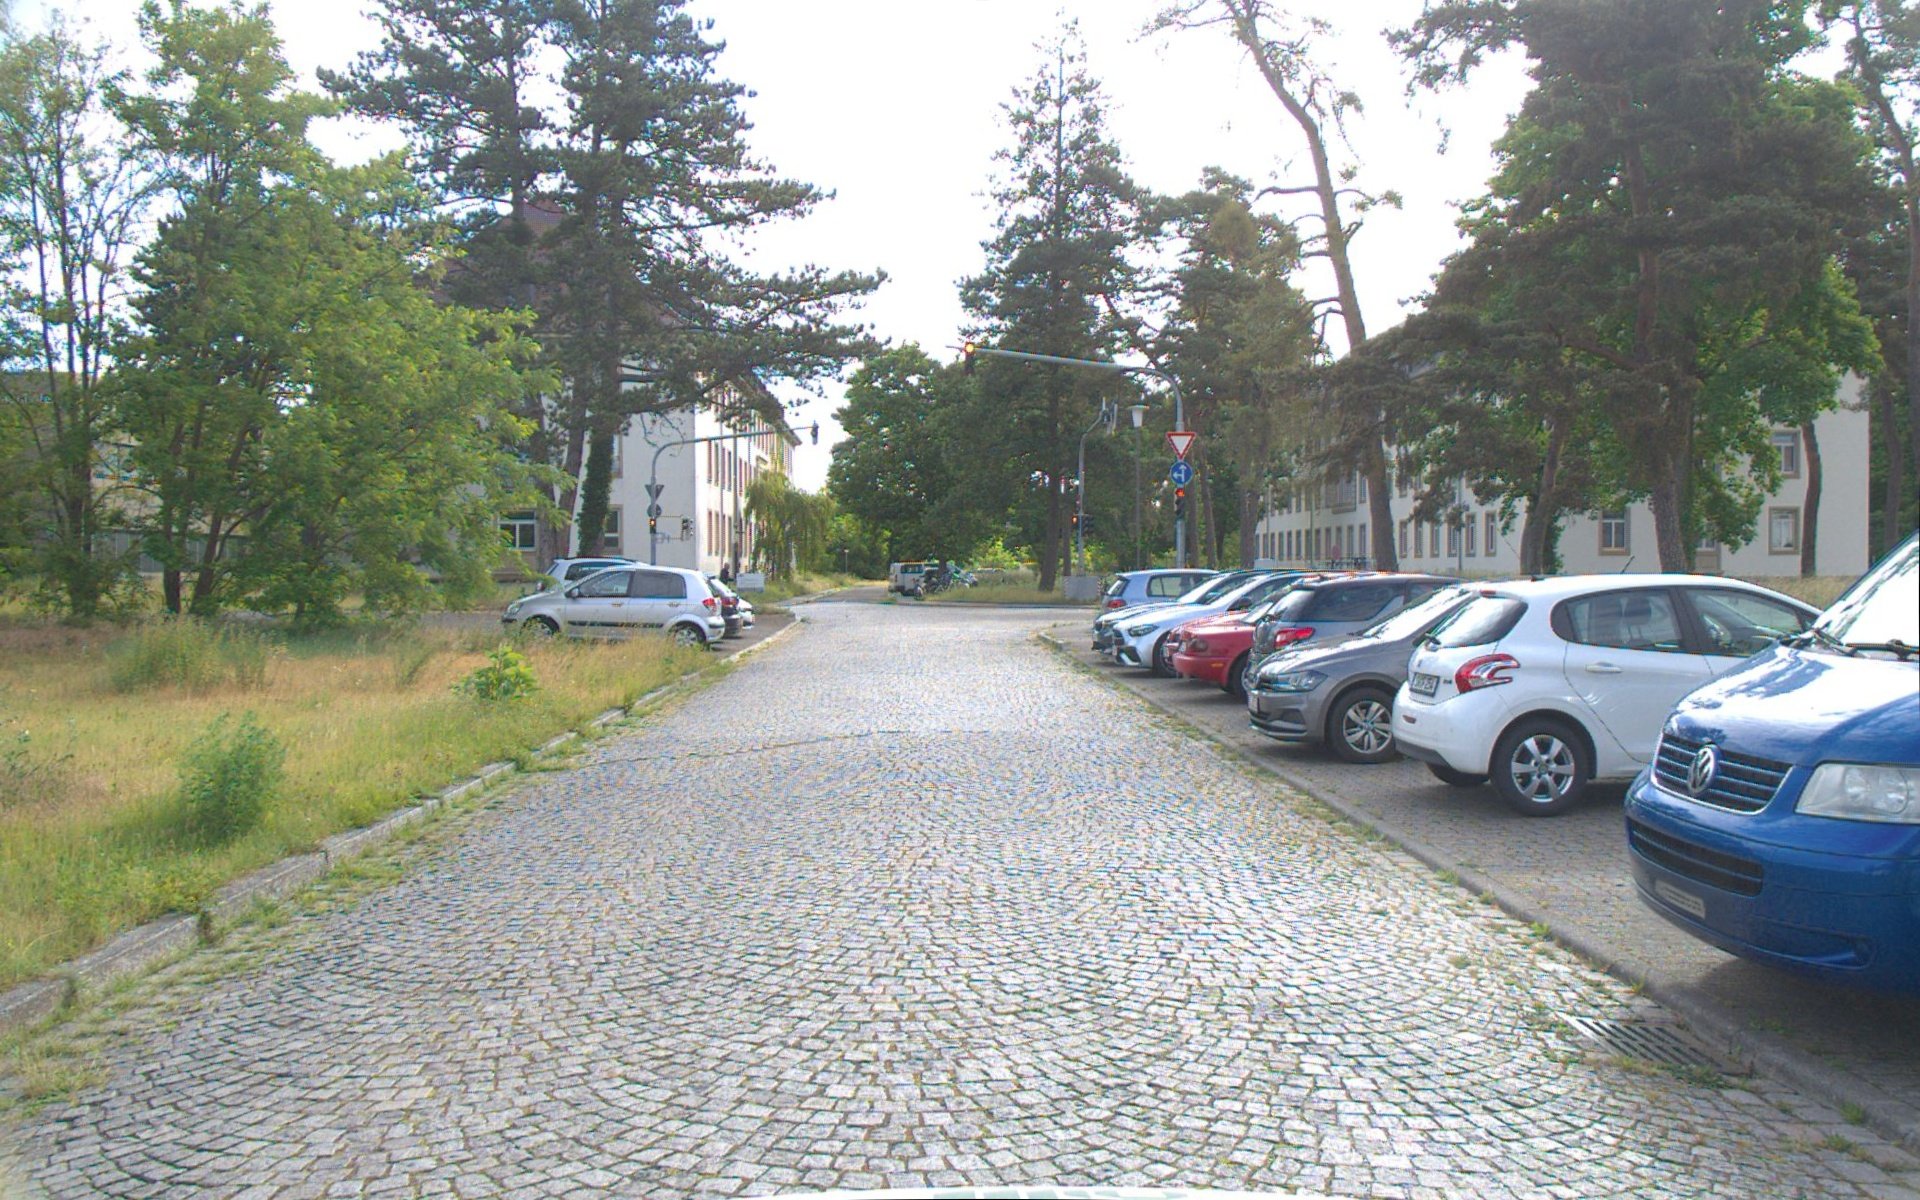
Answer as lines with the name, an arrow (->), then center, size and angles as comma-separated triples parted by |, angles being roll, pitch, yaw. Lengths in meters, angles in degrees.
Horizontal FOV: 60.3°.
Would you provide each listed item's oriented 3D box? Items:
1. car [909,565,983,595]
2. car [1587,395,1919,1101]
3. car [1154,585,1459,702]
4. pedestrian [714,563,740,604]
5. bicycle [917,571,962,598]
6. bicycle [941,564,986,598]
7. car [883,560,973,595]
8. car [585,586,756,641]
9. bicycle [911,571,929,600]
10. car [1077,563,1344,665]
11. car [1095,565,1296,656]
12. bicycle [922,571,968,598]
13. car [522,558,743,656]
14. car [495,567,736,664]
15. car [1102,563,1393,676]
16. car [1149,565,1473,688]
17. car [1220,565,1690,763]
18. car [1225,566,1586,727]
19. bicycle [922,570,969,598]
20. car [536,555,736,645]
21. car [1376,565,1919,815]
car -> -0.797, -1.132, 93.026 | 3.912, 1.673, 1.997 | 0, 1, -8
car -> 4.881, 0.410, 5.859 | 4.687, 2.075, 1.737 | 0, 1, -3
car -> 4.096, 0.483, 19.808 | 3.230, 1.289, 1.661 | 0, 1, -8
pedestrian -> -8.840, -0.626, 62.749 | 0.880, 1.524, 0.904 | 0, 1, -1
bicycle -> -0.996, -0.775, 80.270 | 2.120, 1.290, 0.811 | 0, 1, -9
bicycle -> 0.166, -0.929, 79.810 | 2.120, 1.644, 0.811 | 0, 1, -9
car -> -1.852, -1.308, 96.262 | 4.962, 2.049, 1.994 | 0, 1, -13
car -> -6.280, 0.280, 36.179 | 3.602, 1.113, 1.643 | 0, 1, -8
bicycle -> -1.804, -0.651, 74.677 | 0.793, 1.290, 1.973 | 0, 1, -1
car -> 4.059, 0.196, 27.102 | 4.045, 1.570, 1.661 | 0, 1, -8
car -> 4.197, 0.163, 29.678 | 3.325, 1.570, 1.389 | 0, 1, -8
bicycle -> -0.723, -0.763, 79.067 | 2.120, 1.290, 0.811 | 0, 1, -9
car -> -6.042, 0.100, 30.958 | 3.912, 1.735, 1.997 | 0, 1, -8
car -> -5.834, 0.228, 28.475 | 3.912, 1.579, 1.997 | 0, 1, -8
car -> 4.181, 0.249, 24.294 | 3.912, 1.570, 1.661 | 0, 1, -8
car -> 4.631, 0.319, 22.075 | 3.912, 1.570, 1.661 | 0, 1, -8
car -> 4.193, 0.481, 14.215 | 3.535, 1.533, 1.659 | -1, 1, -13
car -> 4.560, 0.420, 17.108 | 3.235, 1.530, 1.659 | -1, 1, -13
bicycle -> -0.700, -0.758, 78.480 | 2.120, 1.290, 0.811 | 0, 1, -9
car -> -6.585, -0.030, 33.967 | 3.913, 1.780, 1.923 | 0, 1, -9
car -> 4.667, 0.540, 11.232 | 3.227, 1.531, 1.663 | 0, 1, -4
